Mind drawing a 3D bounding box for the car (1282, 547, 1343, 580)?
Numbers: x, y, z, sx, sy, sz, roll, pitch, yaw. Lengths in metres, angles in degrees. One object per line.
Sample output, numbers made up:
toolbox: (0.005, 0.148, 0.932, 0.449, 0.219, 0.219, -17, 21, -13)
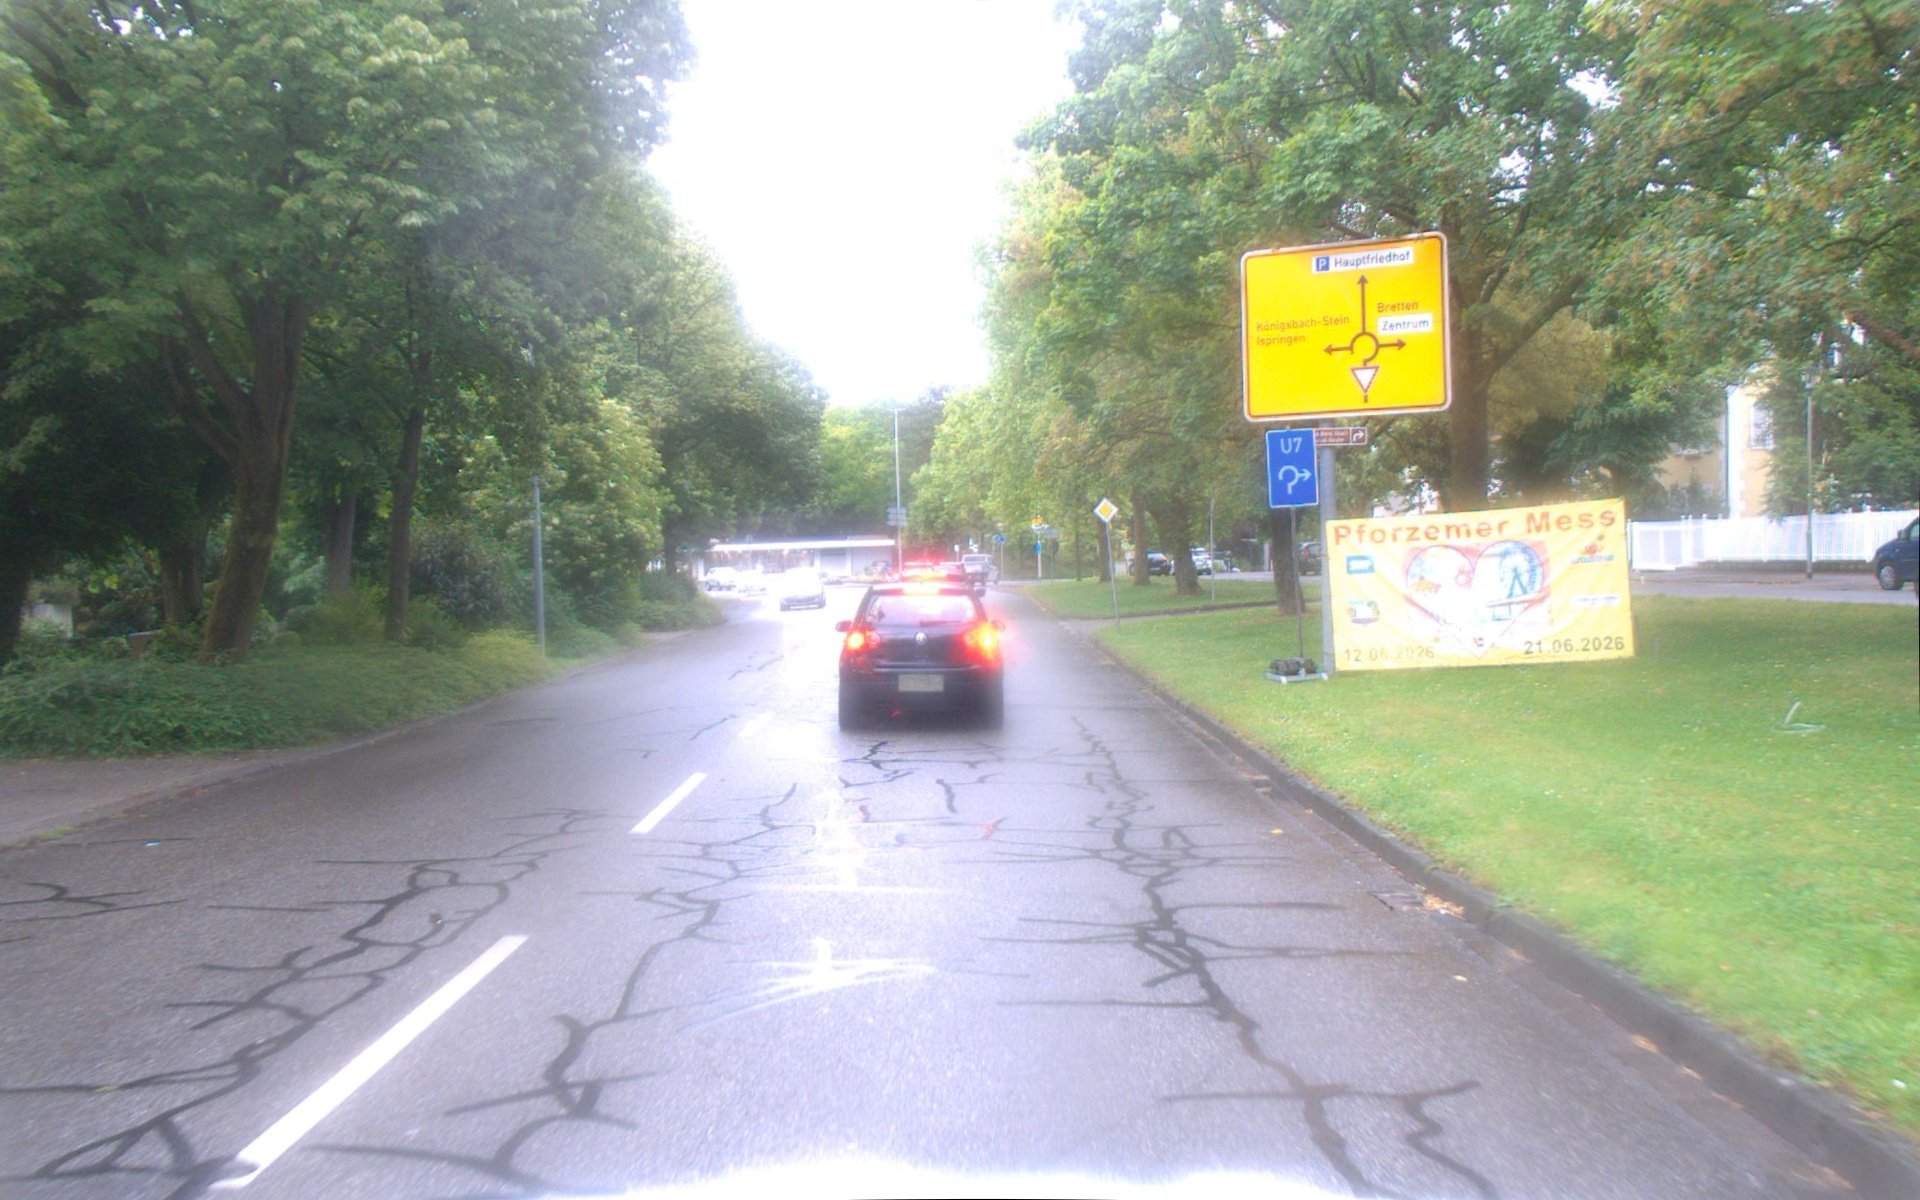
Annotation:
car: (16.738, -1.771, 78.742, 1.766, 1.436, 4.110, -3, 2, -3)

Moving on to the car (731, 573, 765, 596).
car: (-14.528, -1.087, 113.630, 1.574, 1.452, 4.011, -2, 2, 3)

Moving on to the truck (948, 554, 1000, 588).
truck: (0.923, -1.858, 105.174, 2.365, 2.039, 5.156, -2, 1, 10)

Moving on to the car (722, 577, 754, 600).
car: (-16.684, -0.900, 124.440, 1.735, 1.646, 3.805, -1, 1, 2)

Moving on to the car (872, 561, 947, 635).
car: (-1.286, -0.081, 43.681, 1.817, 1.816, 4.000, -2, 1, 0)

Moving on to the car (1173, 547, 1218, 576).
car: (12.995, -2.129, 91.435, 1.767, 1.430, 4.000, -4, 2, -1)

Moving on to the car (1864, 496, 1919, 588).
car: (20.244, -1.194, 32.733, 1.903, 1.840, 4.646, -3, 2, -3)

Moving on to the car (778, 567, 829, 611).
car: (-6.326, -0.458, 67.036, 1.728, 1.642, 4.140, -3, 1, -2)

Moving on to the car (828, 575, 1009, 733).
car: (-0.415, 0.506, 18.054, 1.762, 1.542, 3.753, 0, 1, 0)

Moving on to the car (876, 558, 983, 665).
car: (-0.546, 0.166, 31.064, 1.817, 1.815, 4.000, -2, 1, 0)

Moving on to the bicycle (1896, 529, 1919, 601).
bicycle: (15.662, -0.562, 26.213, 0.583, 1.158, 1.863, -1, 0, -1)

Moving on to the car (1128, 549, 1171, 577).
car: (10.429, -2.029, 91.176, 1.767, 1.409, 4.000, -4, 2, -1)

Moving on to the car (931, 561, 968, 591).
car: (-0.614, -1.297, 90.574, 1.673, 1.539, 3.669, -2, 1, -5)

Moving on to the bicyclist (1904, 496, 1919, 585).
bicyclist: (15.659, -0.952, 26.263, 0.729, 1.415, 1.000, -1, 0, -1)
